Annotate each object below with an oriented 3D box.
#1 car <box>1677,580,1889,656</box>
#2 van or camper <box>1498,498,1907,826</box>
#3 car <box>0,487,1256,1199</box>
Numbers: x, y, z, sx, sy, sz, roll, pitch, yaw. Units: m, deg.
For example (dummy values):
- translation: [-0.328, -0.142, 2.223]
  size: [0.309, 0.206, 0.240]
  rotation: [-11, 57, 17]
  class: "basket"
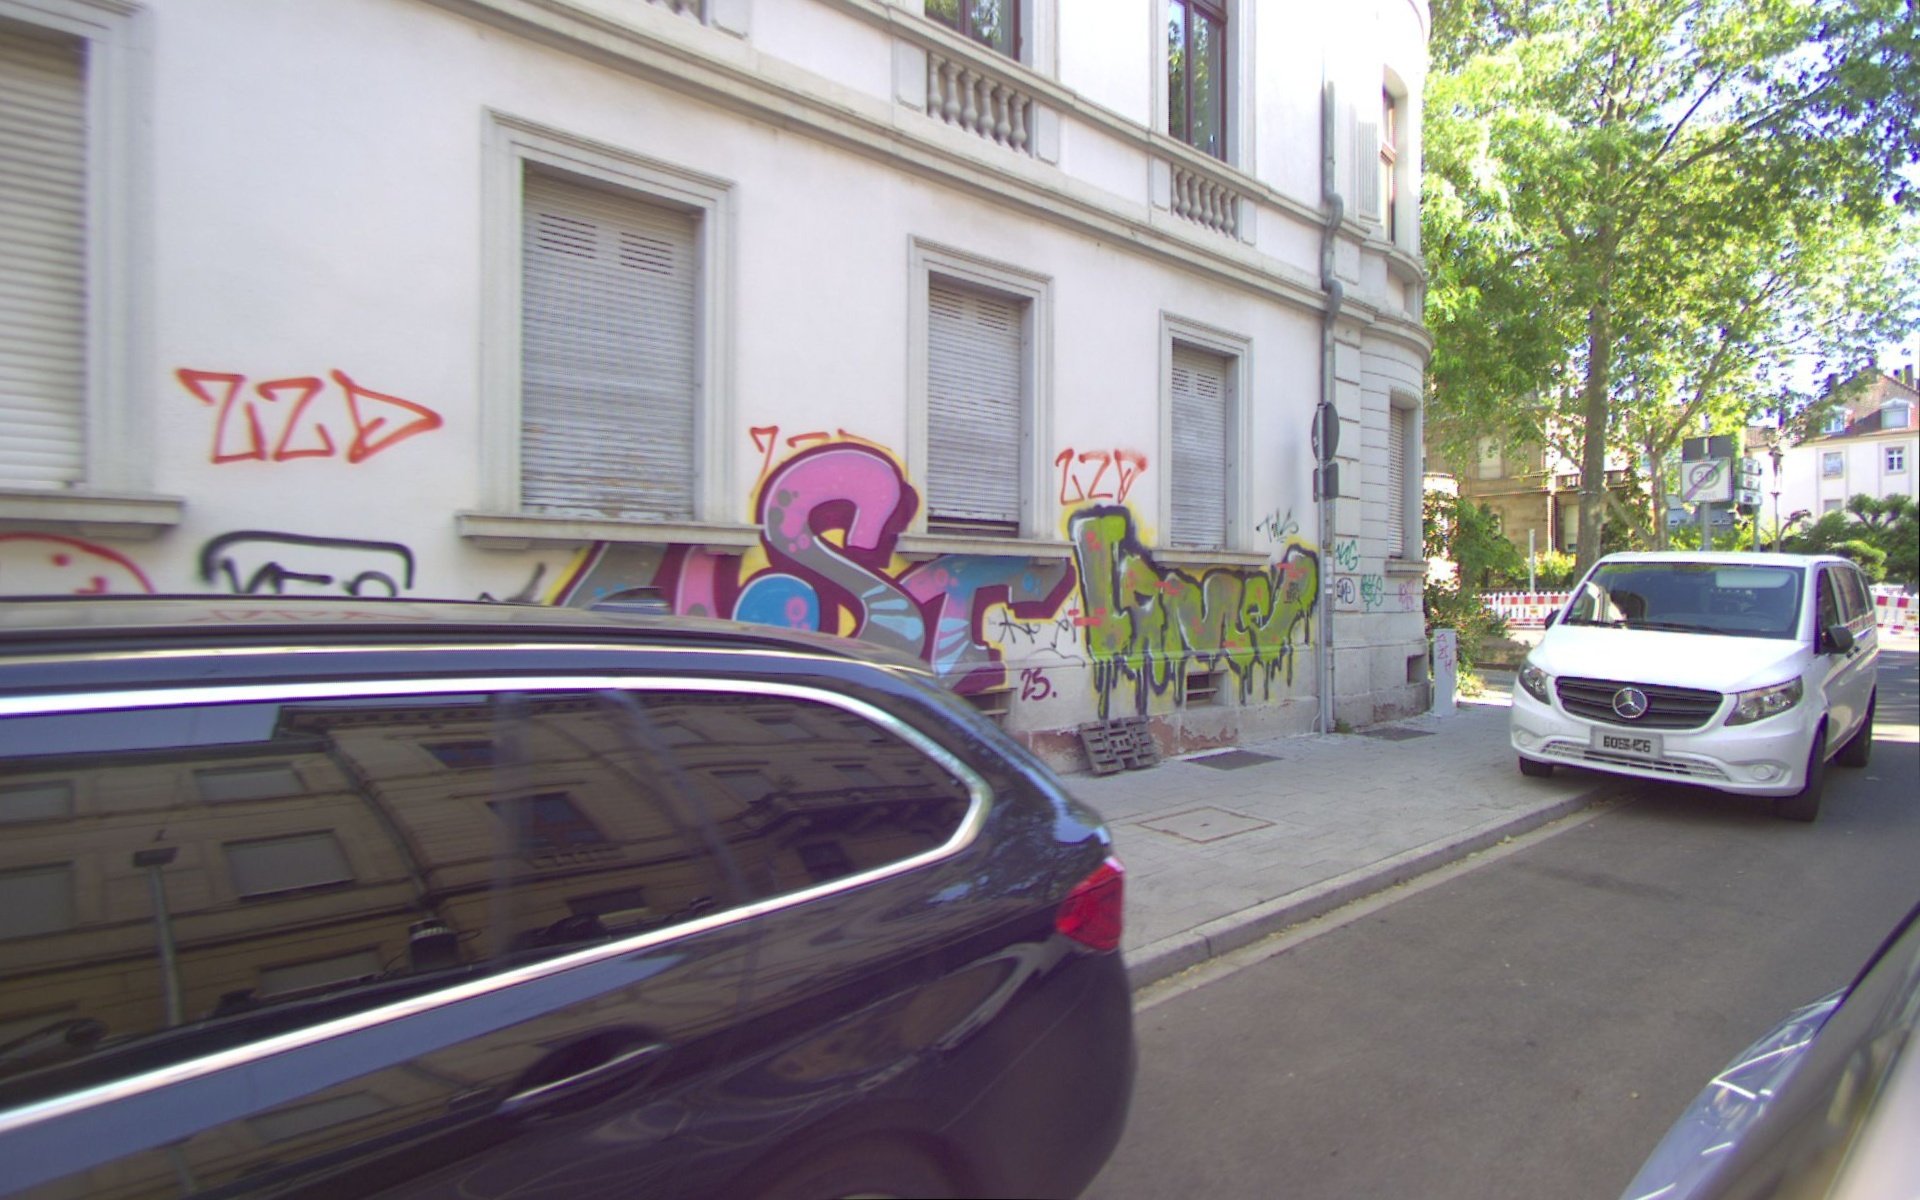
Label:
- translation: [17.222, 0.367, 21.262]
  size: [1.468, 1.474, 3.282]
  rotation: [0, -1, -44]
  class: "car"
- translation: [6.555, 0.376, 8.675]
  size: [4.945, 2.039, 1.896]
  rotation: [0, 0, -42]
  class: "van or camper"
- translation: [-1.747, 0.700, 1.255]
  size: [4.644, 1.539, 1.817]
  rotation: [0, -2, -41]
  class: "car"
